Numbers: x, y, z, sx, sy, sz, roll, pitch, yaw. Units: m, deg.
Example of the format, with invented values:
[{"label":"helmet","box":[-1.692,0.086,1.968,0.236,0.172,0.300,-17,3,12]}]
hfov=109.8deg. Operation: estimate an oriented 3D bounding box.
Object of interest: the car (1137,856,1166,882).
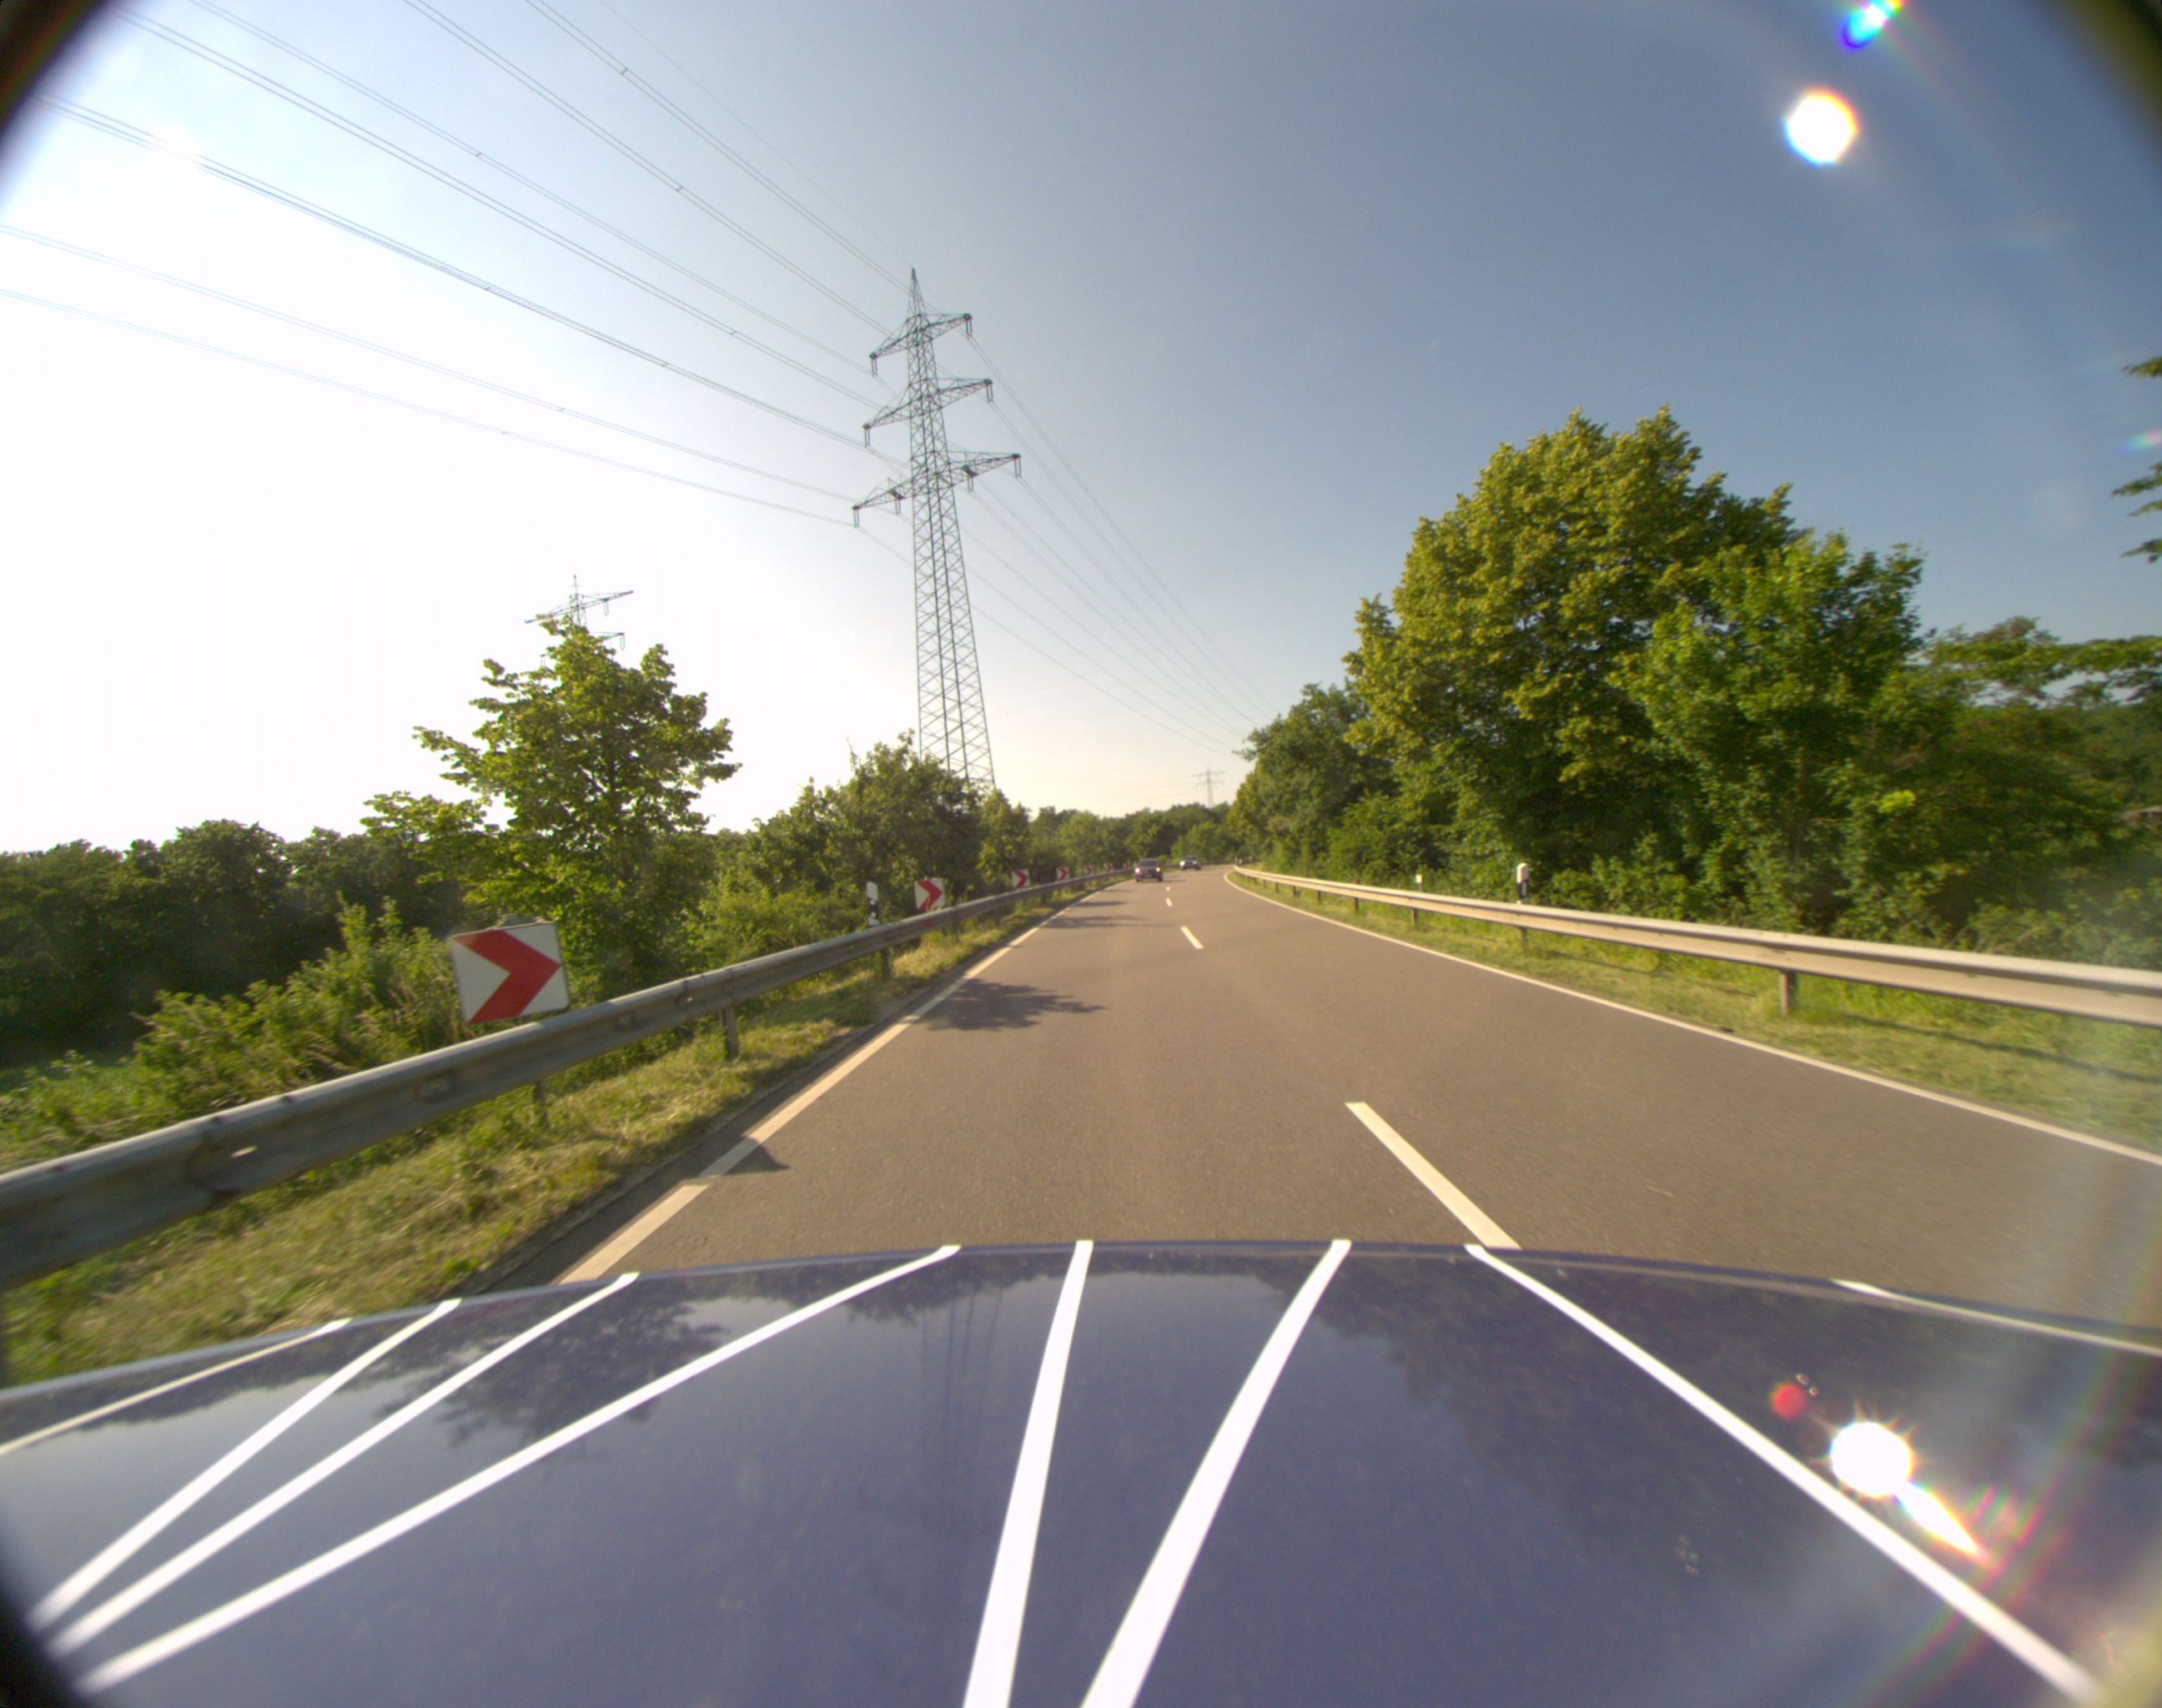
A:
[{"label":"car","box":[4.710,0.975,50.502,1.606,1.486,4.002,-2,1,9]}]

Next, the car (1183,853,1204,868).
[{"label":"car","box":[12.613,0.663,84.937,1.605,1.486,4.004,-2,1,17]}]
